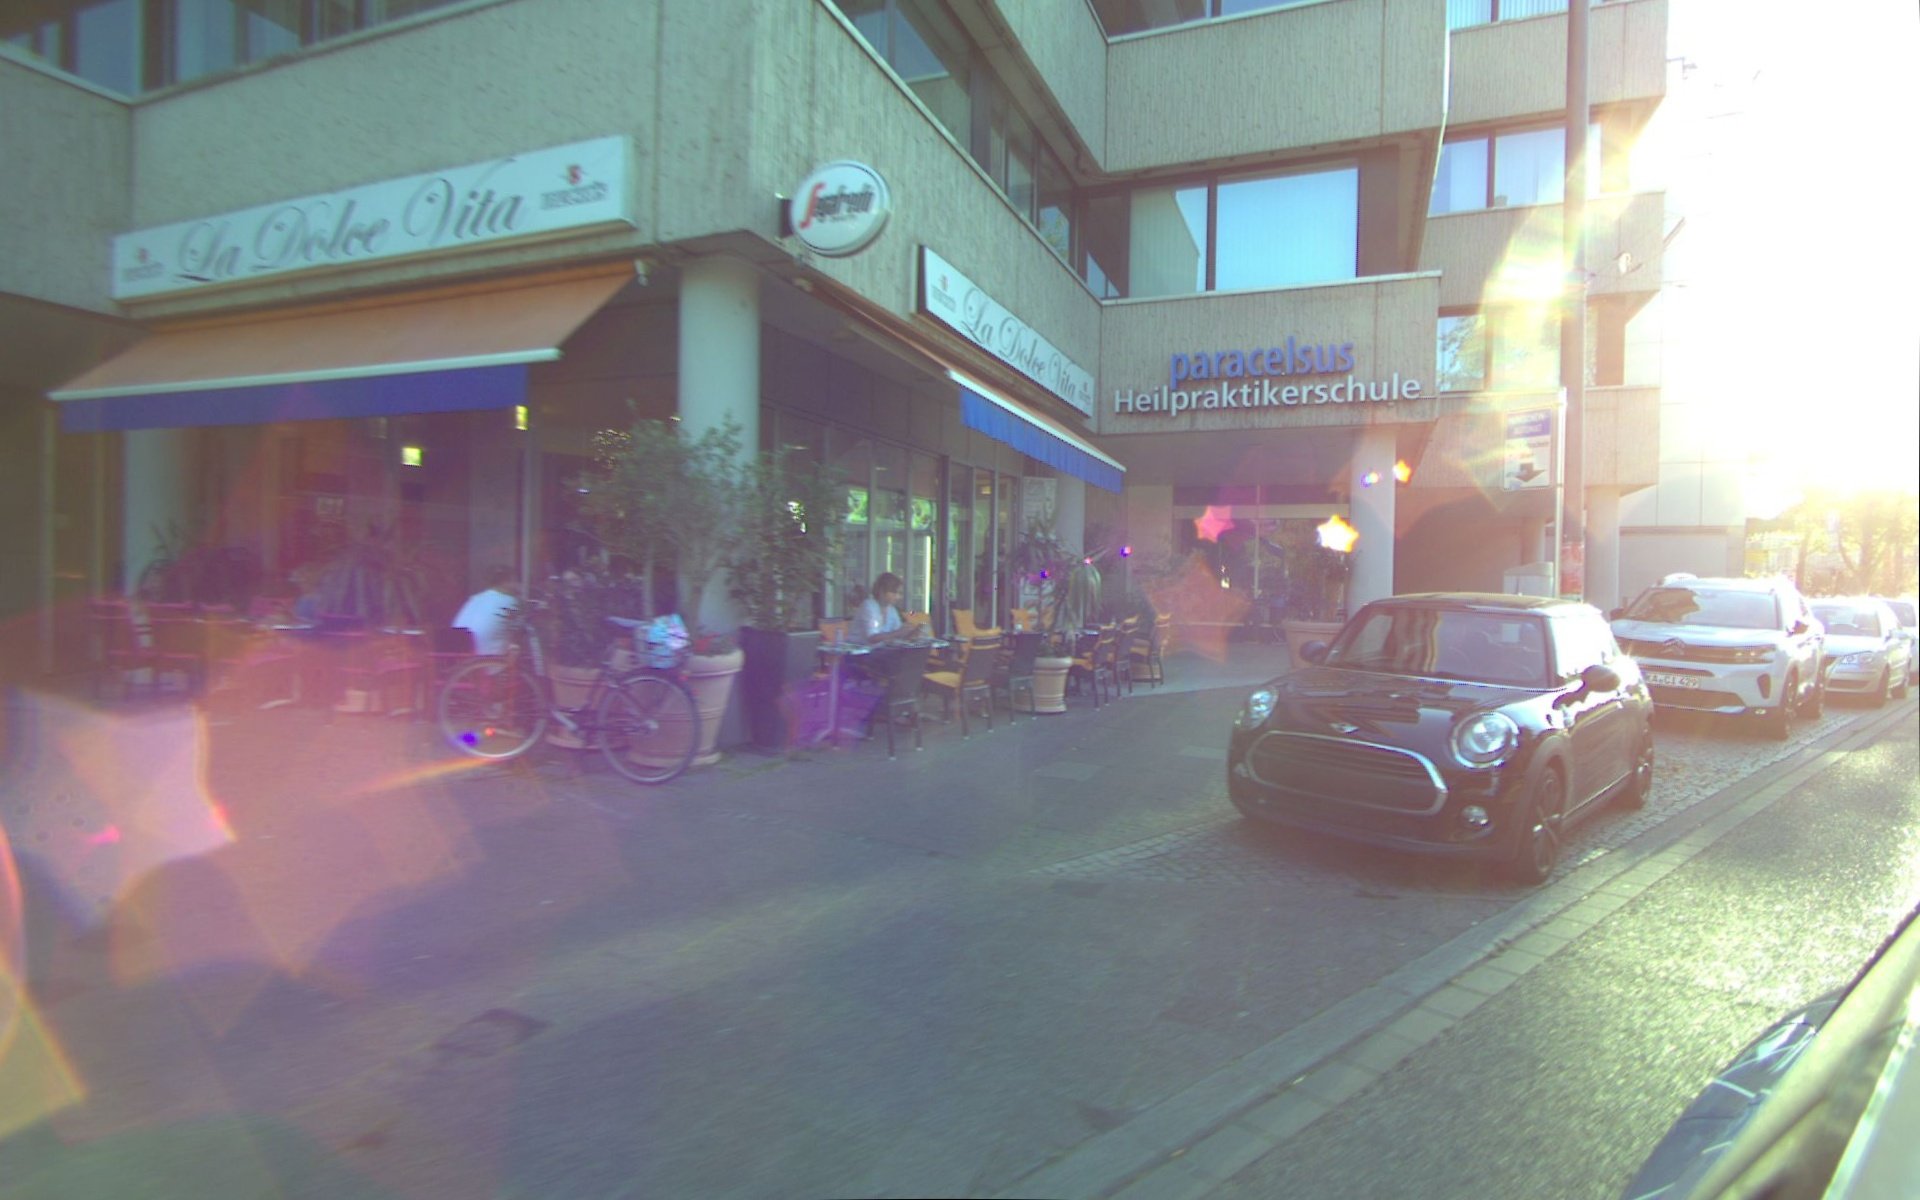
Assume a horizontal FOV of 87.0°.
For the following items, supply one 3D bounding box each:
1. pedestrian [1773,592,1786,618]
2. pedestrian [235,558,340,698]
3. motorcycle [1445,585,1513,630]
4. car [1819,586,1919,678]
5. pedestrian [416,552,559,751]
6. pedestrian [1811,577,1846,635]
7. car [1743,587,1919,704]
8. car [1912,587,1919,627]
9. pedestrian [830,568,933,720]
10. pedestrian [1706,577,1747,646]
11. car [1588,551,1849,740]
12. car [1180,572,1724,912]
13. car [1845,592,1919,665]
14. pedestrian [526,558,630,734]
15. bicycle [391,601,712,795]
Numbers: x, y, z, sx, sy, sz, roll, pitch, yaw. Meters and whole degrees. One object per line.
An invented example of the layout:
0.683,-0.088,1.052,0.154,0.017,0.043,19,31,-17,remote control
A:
53.659,0.308,66.277,0.513,1.715,0.765,-1,0,29,pedestrian
-6.297,0.248,9.489,0.552,1.255,0.610,1,0,23,pedestrian
15.744,0.214,30.747,0.655,1.309,1.800,1,1,-26,motorcycle
17.745,0.557,19.379,3.606,1.611,1.586,0,0,-43,car
-3.376,0.335,7.234,0.639,1.312,0.697,3,2,39,pedestrian
27.815,0.187,32.416,0.634,1.808,0.849,0,0,25,pedestrian
13.266,0.591,15.238,3.931,1.547,1.643,0,0,-41,car
42.594,0.310,43.885,1.805,1.691,4.735,0,0,45,car
-0.702,0.382,9.199,0.752,1.314,0.707,0,0,14,pedestrian
18.688,0.273,24.691,0.634,1.648,0.849,0,0,25,pedestrian
9.066,0.431,11.954,4.328,1.827,1.785,0,0,-44,car
3.315,0.631,6.498,3.852,1.527,1.793,0,0,-41,car
21.405,0.590,22.696,3.929,1.474,1.788,-1,2,-40,car
-2.990,0.327,7.907,0.528,1.294,0.706,0,2,-41,pedestrian
-2.501,0.566,6.212,1.861,1.017,0.457,3,2,10,bicycle
